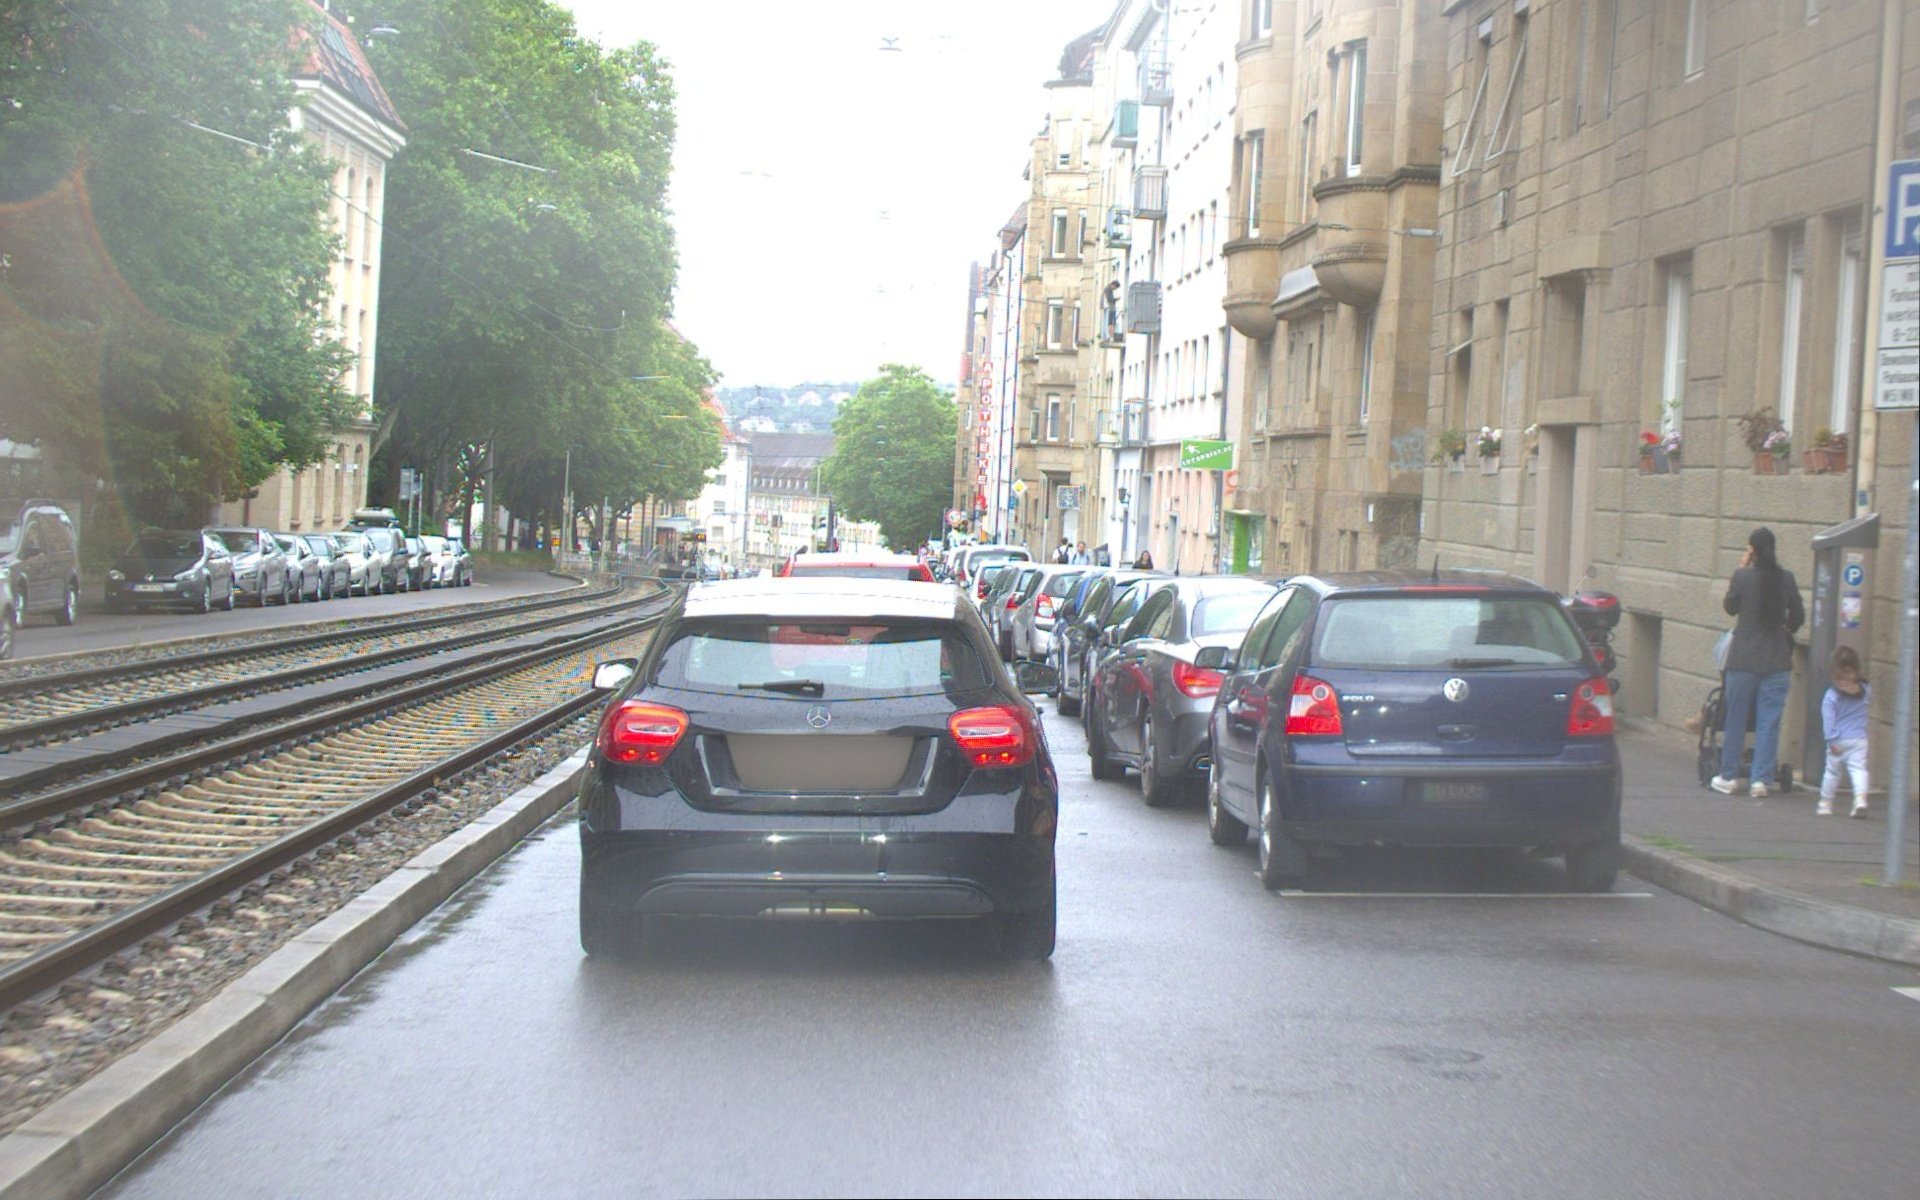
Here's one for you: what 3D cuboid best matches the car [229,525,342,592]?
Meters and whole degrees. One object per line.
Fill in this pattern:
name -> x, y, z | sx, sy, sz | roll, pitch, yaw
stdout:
car -> -14.420, -0.896, 73.721 | 1.754, 1.409, 4.154 | 0, 1, -2

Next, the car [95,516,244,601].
car -> -14.075, -0.743, 61.405 | 1.849, 1.459, 4.551 | 0, 1, -3

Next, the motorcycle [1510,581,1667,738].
motorcycle -> 5.191, 0.466, 28.578 | 0.705, 1.194, 2.746 | 2, 1, -1

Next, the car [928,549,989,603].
car -> -0.062, -0.745, 103.428 | 1.693, 1.524, 4.000 | 2, 1, -1

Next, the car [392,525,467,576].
car -> -14.937, -1.400, 96.914 | 1.500, 1.386, 3.987 | 0, 1, 0

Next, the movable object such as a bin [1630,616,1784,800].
movable object such as a bin -> 4.762, 0.674, 21.976 | 0.665, 1.099, 1.124 | 2, 1, -2

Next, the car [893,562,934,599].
car -> -2.085, -0.886, 153.738 | 1.827, 1.612, 3.864 | 0, 1, -1

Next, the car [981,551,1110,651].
car -> 1.263, -0.012, 52.367 | 1.667, 1.429, 3.957 | 1, 1, -2

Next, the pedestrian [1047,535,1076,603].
pedestrian -> 2.735, -0.841, 92.767 | 0.746, 1.827, 1.039 | 0, 1, 0

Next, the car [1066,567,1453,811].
car -> 1.812, 0.495, 22.225 | 1.754, 1.382, 4.486 | 0, 1, -5

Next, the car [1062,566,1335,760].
car -> 1.857, 0.454, 27.871 | 1.706, 1.393, 4.019 | 2, 1, -3

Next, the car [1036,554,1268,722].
car -> 1.788, 0.317, 33.208 | 1.787, 1.457, 4.084 | 2, 1, -3

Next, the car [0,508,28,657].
car -> -10.302, -0.175, 32.451 | 1.981, 1.452, 4.295 | 1, 1, -3

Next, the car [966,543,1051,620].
car -> 0.949, -0.394, 68.802 | 1.570, 1.457, 3.600 | 1, 1, -1

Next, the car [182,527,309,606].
car -> -14.206, -0.683, 68.571 | 1.754, 1.531, 4.543 | 0, 1, -2

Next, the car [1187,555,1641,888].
car -> 2.113, 0.507, 16.957 | 1.671, 1.439, 3.790 | 0, 1, -1

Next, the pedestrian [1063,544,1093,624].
pedestrian -> 2.622, -0.362, 76.474 | 0.607, 1.757, 0.688 | 0, 1, -2

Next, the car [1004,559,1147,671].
car -> 1.550, 0.179, 47.092 | 1.590, 1.429, 3.685 | 1, 1, -3

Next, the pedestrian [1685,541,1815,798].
pedestrian -> 4.826, 0.413, 21.028 | 0.561, 1.530, 0.710 | 2, 1, -1

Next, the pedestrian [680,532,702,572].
pedestrian -> -10.899, -1.942, 139.157 | 0.806, 1.628, 0.892 | 0, 1, -1

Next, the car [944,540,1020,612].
car -> 0.565, -0.634, 88.112 | 1.828, 1.744, 4.467 | 2, 1, 0

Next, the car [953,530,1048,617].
car -> 0.832, -0.585, 73.281 | 1.790, 1.759, 4.212 | 1, 1, -2

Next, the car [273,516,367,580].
car -> -14.511, -1.188, 78.151 | 1.539, 1.409, 3.953 | 0, 1, -2

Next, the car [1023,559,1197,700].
car -> 1.595, 0.288, 37.483 | 1.543, 1.410, 3.447 | 2, 1, -3

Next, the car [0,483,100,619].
car -> -13.704, -0.709, 48.965 | 1.800, 1.840, 4.819 | 1, 1, -1

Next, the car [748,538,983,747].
car -> -0.779, 0.303, 28.788 | 1.785, 1.575, 4.000 | 2, 1, -1

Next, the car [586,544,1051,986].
car -> -0.549, 0.553, 13.834 | 1.580, 1.499, 3.575 | 2, 1, -2

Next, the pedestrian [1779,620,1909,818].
pedestrian -> 4.879, 0.649, 19.003 | 0.510, 1.046, 0.627 | 2, 1, -1
